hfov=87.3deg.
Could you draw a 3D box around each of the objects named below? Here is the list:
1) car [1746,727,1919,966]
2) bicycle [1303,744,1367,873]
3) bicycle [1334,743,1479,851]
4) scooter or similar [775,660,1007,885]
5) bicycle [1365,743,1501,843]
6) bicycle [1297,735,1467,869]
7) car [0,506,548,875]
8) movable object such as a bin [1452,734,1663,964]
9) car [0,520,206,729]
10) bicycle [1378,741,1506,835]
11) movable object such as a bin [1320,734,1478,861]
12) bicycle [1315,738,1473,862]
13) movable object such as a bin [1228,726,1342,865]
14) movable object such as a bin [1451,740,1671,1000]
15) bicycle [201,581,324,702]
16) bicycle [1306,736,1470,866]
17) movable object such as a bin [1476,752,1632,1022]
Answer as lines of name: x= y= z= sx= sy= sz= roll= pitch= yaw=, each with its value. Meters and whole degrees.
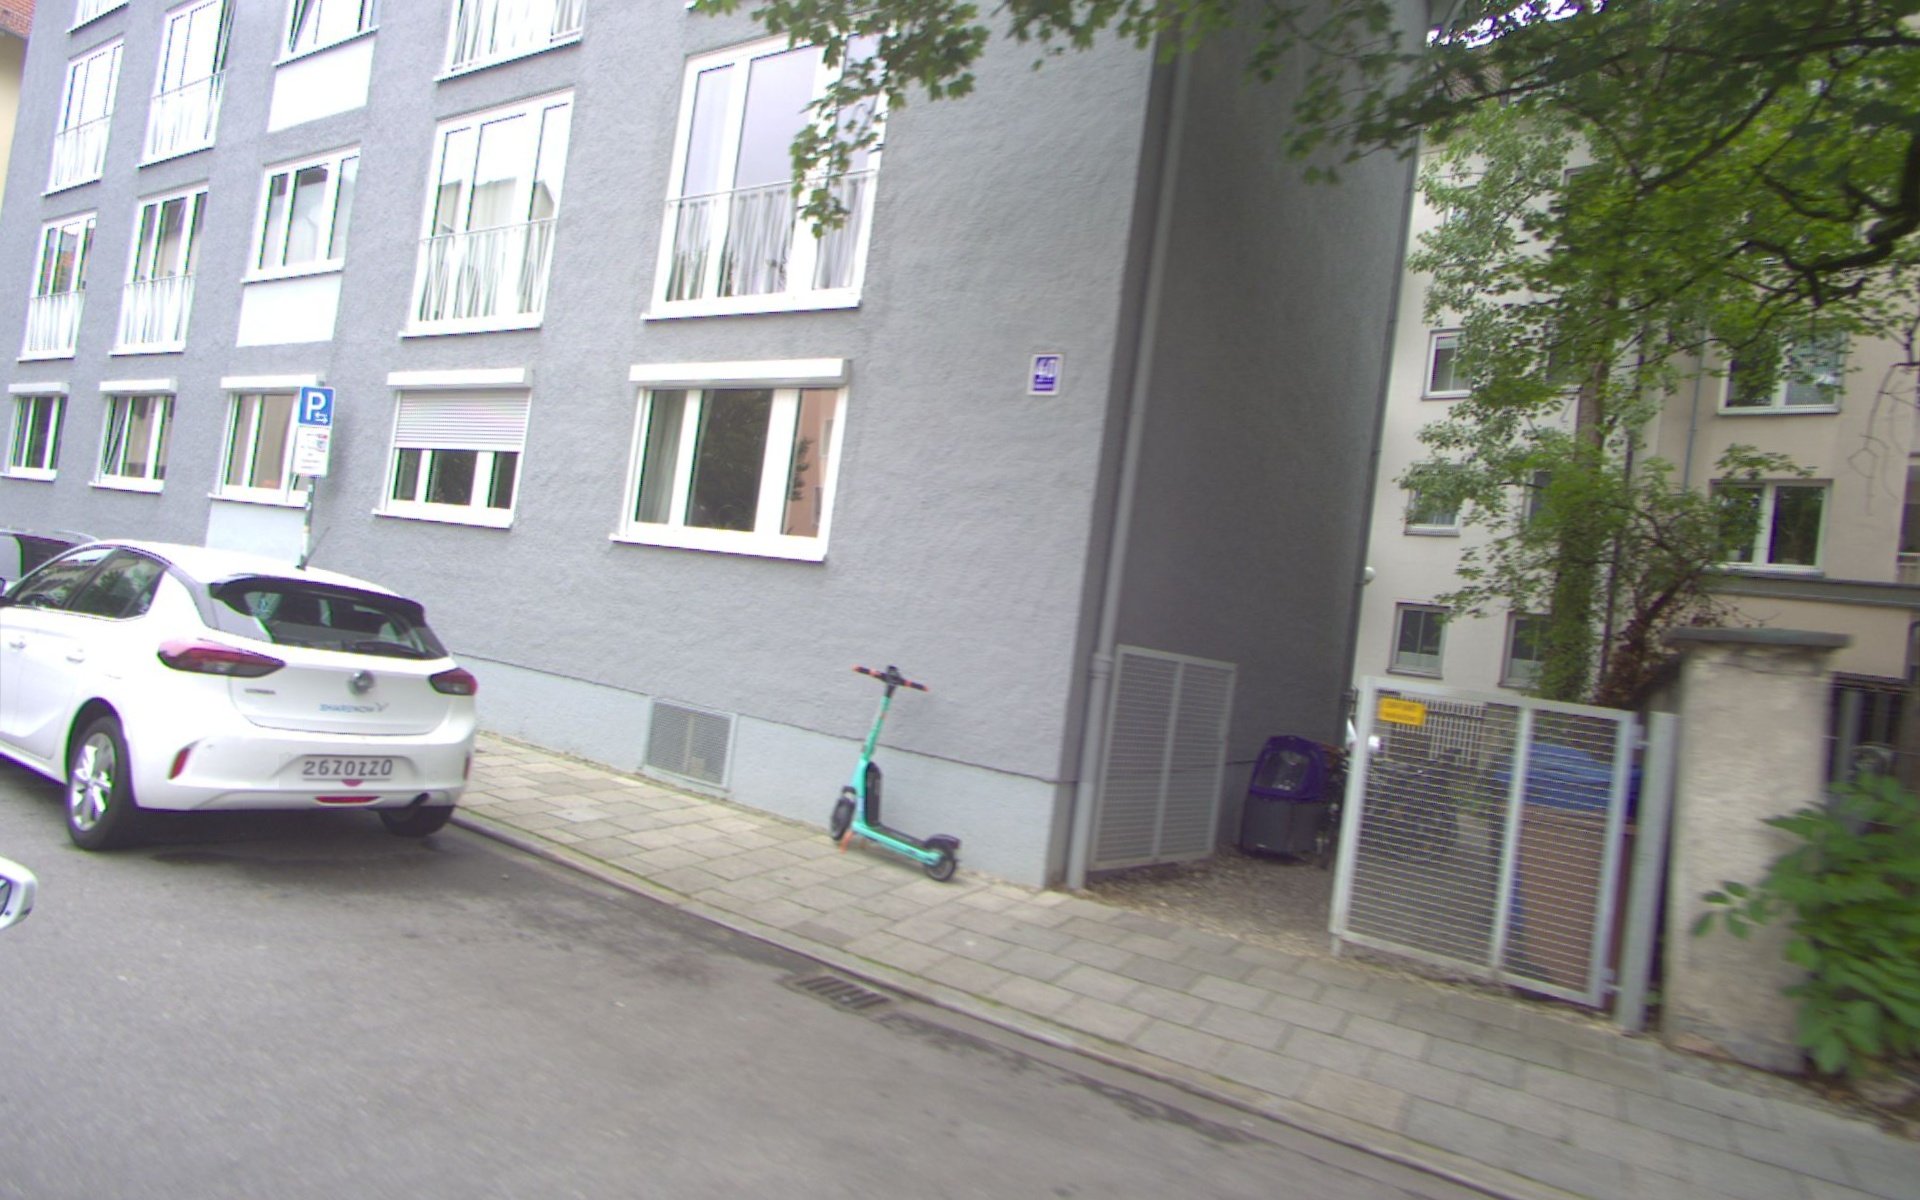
car: x=8.100 y=1.995 z=8.285 sx=1.817 sy=1.591 sz=3.813 roll=7 pitch=-3 yaw=29
bicycle: x=3.754 y=2.026 z=10.020 sx=0.394 sy=1.063 sz=1.568 roll=7 pitch=-2 yaw=24
bicycle: x=5.800 y=2.529 z=13.092 sx=1.557 sy=1.061 sz=0.613 roll=7 pitch=-3 yaw=32
scooter or similar: x=-0.466 y=1.071 z=6.564 sx=1.353 sy=1.188 sz=0.506 roll=6 pitch=-1 yaw=33
bicycle: x=6.592 y=2.659 z=14.041 sx=1.557 sy=1.061 sz=0.613 roll=7 pitch=-3 yaw=32
bicycle: x=4.565 y=2.156 z=10.932 sx=1.542 sy=1.123 sz=0.441 roll=7 pitch=-1 yaw=32
car: x=-4.729 y=0.382 z=6.142 sx=4.273 sy=1.459 sz=1.775 roll=6 pitch=-6 yaw=32
movable object such as a bin: x=4.501 y=1.815 z=7.656 sx=1.149 sy=1.374 sz=1.208 roll=7 pitch=-4 yaw=30
car: x=-8.599 y=-0.010 z=8.624 sx=4.411 sy=1.414 sz=1.796 roll=6 pitch=-6 yaw=32
bicycle: x=7.132 y=2.756 z=14.897 sx=1.557 sy=1.061 sz=0.613 roll=7 pitch=-3 yaw=32
movable object such as a bin: x=5.337 y=2.371 z=12.258 sx=1.587 sy=1.213 sz=0.578 roll=7 pitch=-4 yaw=32
bicycle: x=5.058 y=2.299 z=11.767 sx=1.542 sy=1.123 sz=0.441 roll=7 pitch=-1 yaw=32
movable object such as a bin: x=3.125 y=1.840 z=9.628 sx=0.733 sy=1.131 sz=0.978 roll=7 pitch=-3 yaw=30
movable object such as a bin: x=3.948 y=1.709 z=6.678 sx=1.035 sy=1.374 sz=1.002 roll=7 pitch=-4 yaw=30
bicycle: x=-7.709 y=0.445 z=11.088 sx=1.658 sy=1.123 sz=0.378 roll=7 pitch=-1 yaw=32
bicycle: x=4.800 y=2.224 z=11.328 sx=1.542 sy=1.123 sz=0.441 roll=7 pitch=-1 yaw=32
movable object such as a bin: x=3.490 y=1.637 z=5.942 sx=0.622 sy=1.374 sz=0.592 roll=7 pitch=-3 yaw=30
